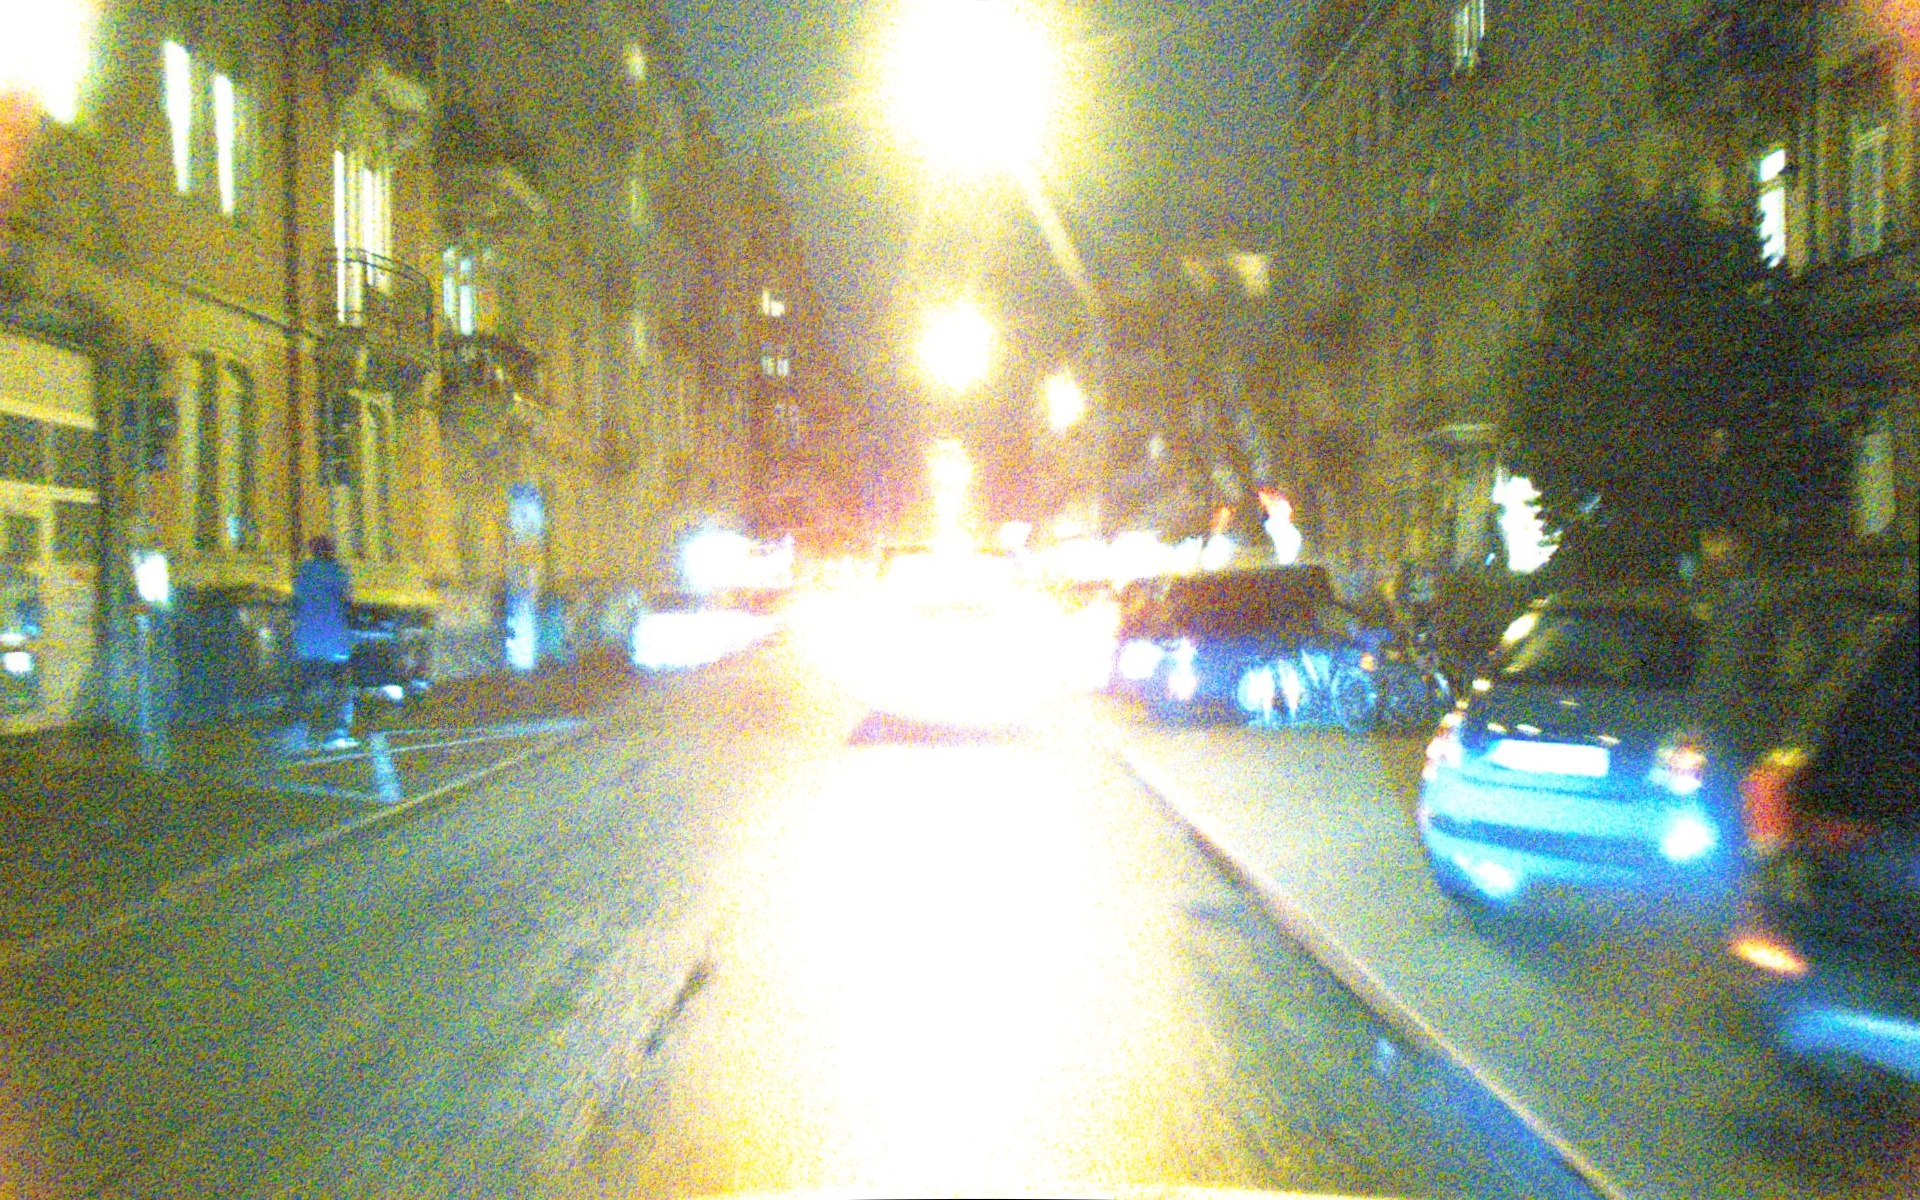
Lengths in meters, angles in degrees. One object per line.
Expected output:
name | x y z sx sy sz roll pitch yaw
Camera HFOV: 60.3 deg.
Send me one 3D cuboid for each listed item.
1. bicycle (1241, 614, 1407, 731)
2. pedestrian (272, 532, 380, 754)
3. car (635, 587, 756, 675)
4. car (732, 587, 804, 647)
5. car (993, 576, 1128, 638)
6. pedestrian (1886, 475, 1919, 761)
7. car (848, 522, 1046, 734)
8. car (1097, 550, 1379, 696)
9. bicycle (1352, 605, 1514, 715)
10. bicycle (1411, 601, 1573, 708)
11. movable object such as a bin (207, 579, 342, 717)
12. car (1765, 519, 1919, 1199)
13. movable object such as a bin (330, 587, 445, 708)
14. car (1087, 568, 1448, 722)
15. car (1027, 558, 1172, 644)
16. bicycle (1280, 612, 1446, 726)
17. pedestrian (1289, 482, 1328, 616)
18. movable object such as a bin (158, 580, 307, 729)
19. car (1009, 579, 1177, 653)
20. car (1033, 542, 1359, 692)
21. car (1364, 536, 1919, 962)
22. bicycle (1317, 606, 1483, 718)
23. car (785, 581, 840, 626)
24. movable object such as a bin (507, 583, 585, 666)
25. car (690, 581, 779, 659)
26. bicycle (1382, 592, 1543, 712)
bicycle | 3.655 0.706 16.745 0.513 1.094 1.808 -2 1 -31
pedestrian | -5.500 0.362 14.387 0.579 1.852 0.795 2 0 -1
car | -4.740 0.514 30.110 1.554 1.508 3.793 0 0 0
car | -5.208 0.431 45.302 1.777 1.584 4.073 0 0 -4
car | 2.782 0.182 45.456 3.528 1.618 1.584 -1 -1 -38
pedestrian | 6.757 0.102 10.731 0.851 1.888 0.992 -3 0 -3
car | -0.144 0.287 18.370 1.953 2.086 3.999 0 0 -1
car | 3.803 0.280 22.512 3.517 1.741 1.630 -3 0 -30
bicycle | 5.002 0.611 17.598 0.441 1.094 1.808 -2 1 -31
bicycle | 5.787 0.573 18.090 0.441 1.094 1.808 -2 1 -31
movable object such as a bin | -7.488 0.502 18.117 0.954 1.444 1.133 1 0 2
car | 3.849 0.600 4.624 3.619 1.608 1.569 -1 1 -40
movable object such as a bin | -6.997 0.564 20.274 0.954 1.423 1.133 1 0 2
car | 3.642 0.477 19.470 3.942 1.518 1.719 -3 0 -28
car | 3.600 0.014 42.445 3.529 2.025 1.584 -3 0 -38
bicycle | 4.119 0.679 17.046 0.513 1.094 1.808 -2 1 -31
pedestrian | 9.390 -1.367 44.618 0.873 3.589 0.791 0 0 -1
movable object such as a bin | -7.384 0.533 16.844 0.954 1.444 1.133 1 0 2
car | 3.019 0.356 37.337 3.526 1.478 1.651 -3 0 -36
car | 3.626 0.188 25.149 4.737 2.084 2.045 -1 1 -32
car | 3.836 0.542 8.189 3.614 1.608 1.572 -3 1 -36
bicycle | 4.578 0.628 17.339 0.513 1.094 1.808 -2 1 -31
car | -5.757 0.129 64.886 1.845 1.714 4.000 0 0 -1
movable object such as a bin | -7.353 0.421 29.420 1.026 1.423 1.158 1 0 2
car | -4.796 0.394 35.543 1.622 1.584 4.073 0 0 -4
bicycle | 5.393 0.542 17.854 0.441 1.212 1.808 -2 1 -31
